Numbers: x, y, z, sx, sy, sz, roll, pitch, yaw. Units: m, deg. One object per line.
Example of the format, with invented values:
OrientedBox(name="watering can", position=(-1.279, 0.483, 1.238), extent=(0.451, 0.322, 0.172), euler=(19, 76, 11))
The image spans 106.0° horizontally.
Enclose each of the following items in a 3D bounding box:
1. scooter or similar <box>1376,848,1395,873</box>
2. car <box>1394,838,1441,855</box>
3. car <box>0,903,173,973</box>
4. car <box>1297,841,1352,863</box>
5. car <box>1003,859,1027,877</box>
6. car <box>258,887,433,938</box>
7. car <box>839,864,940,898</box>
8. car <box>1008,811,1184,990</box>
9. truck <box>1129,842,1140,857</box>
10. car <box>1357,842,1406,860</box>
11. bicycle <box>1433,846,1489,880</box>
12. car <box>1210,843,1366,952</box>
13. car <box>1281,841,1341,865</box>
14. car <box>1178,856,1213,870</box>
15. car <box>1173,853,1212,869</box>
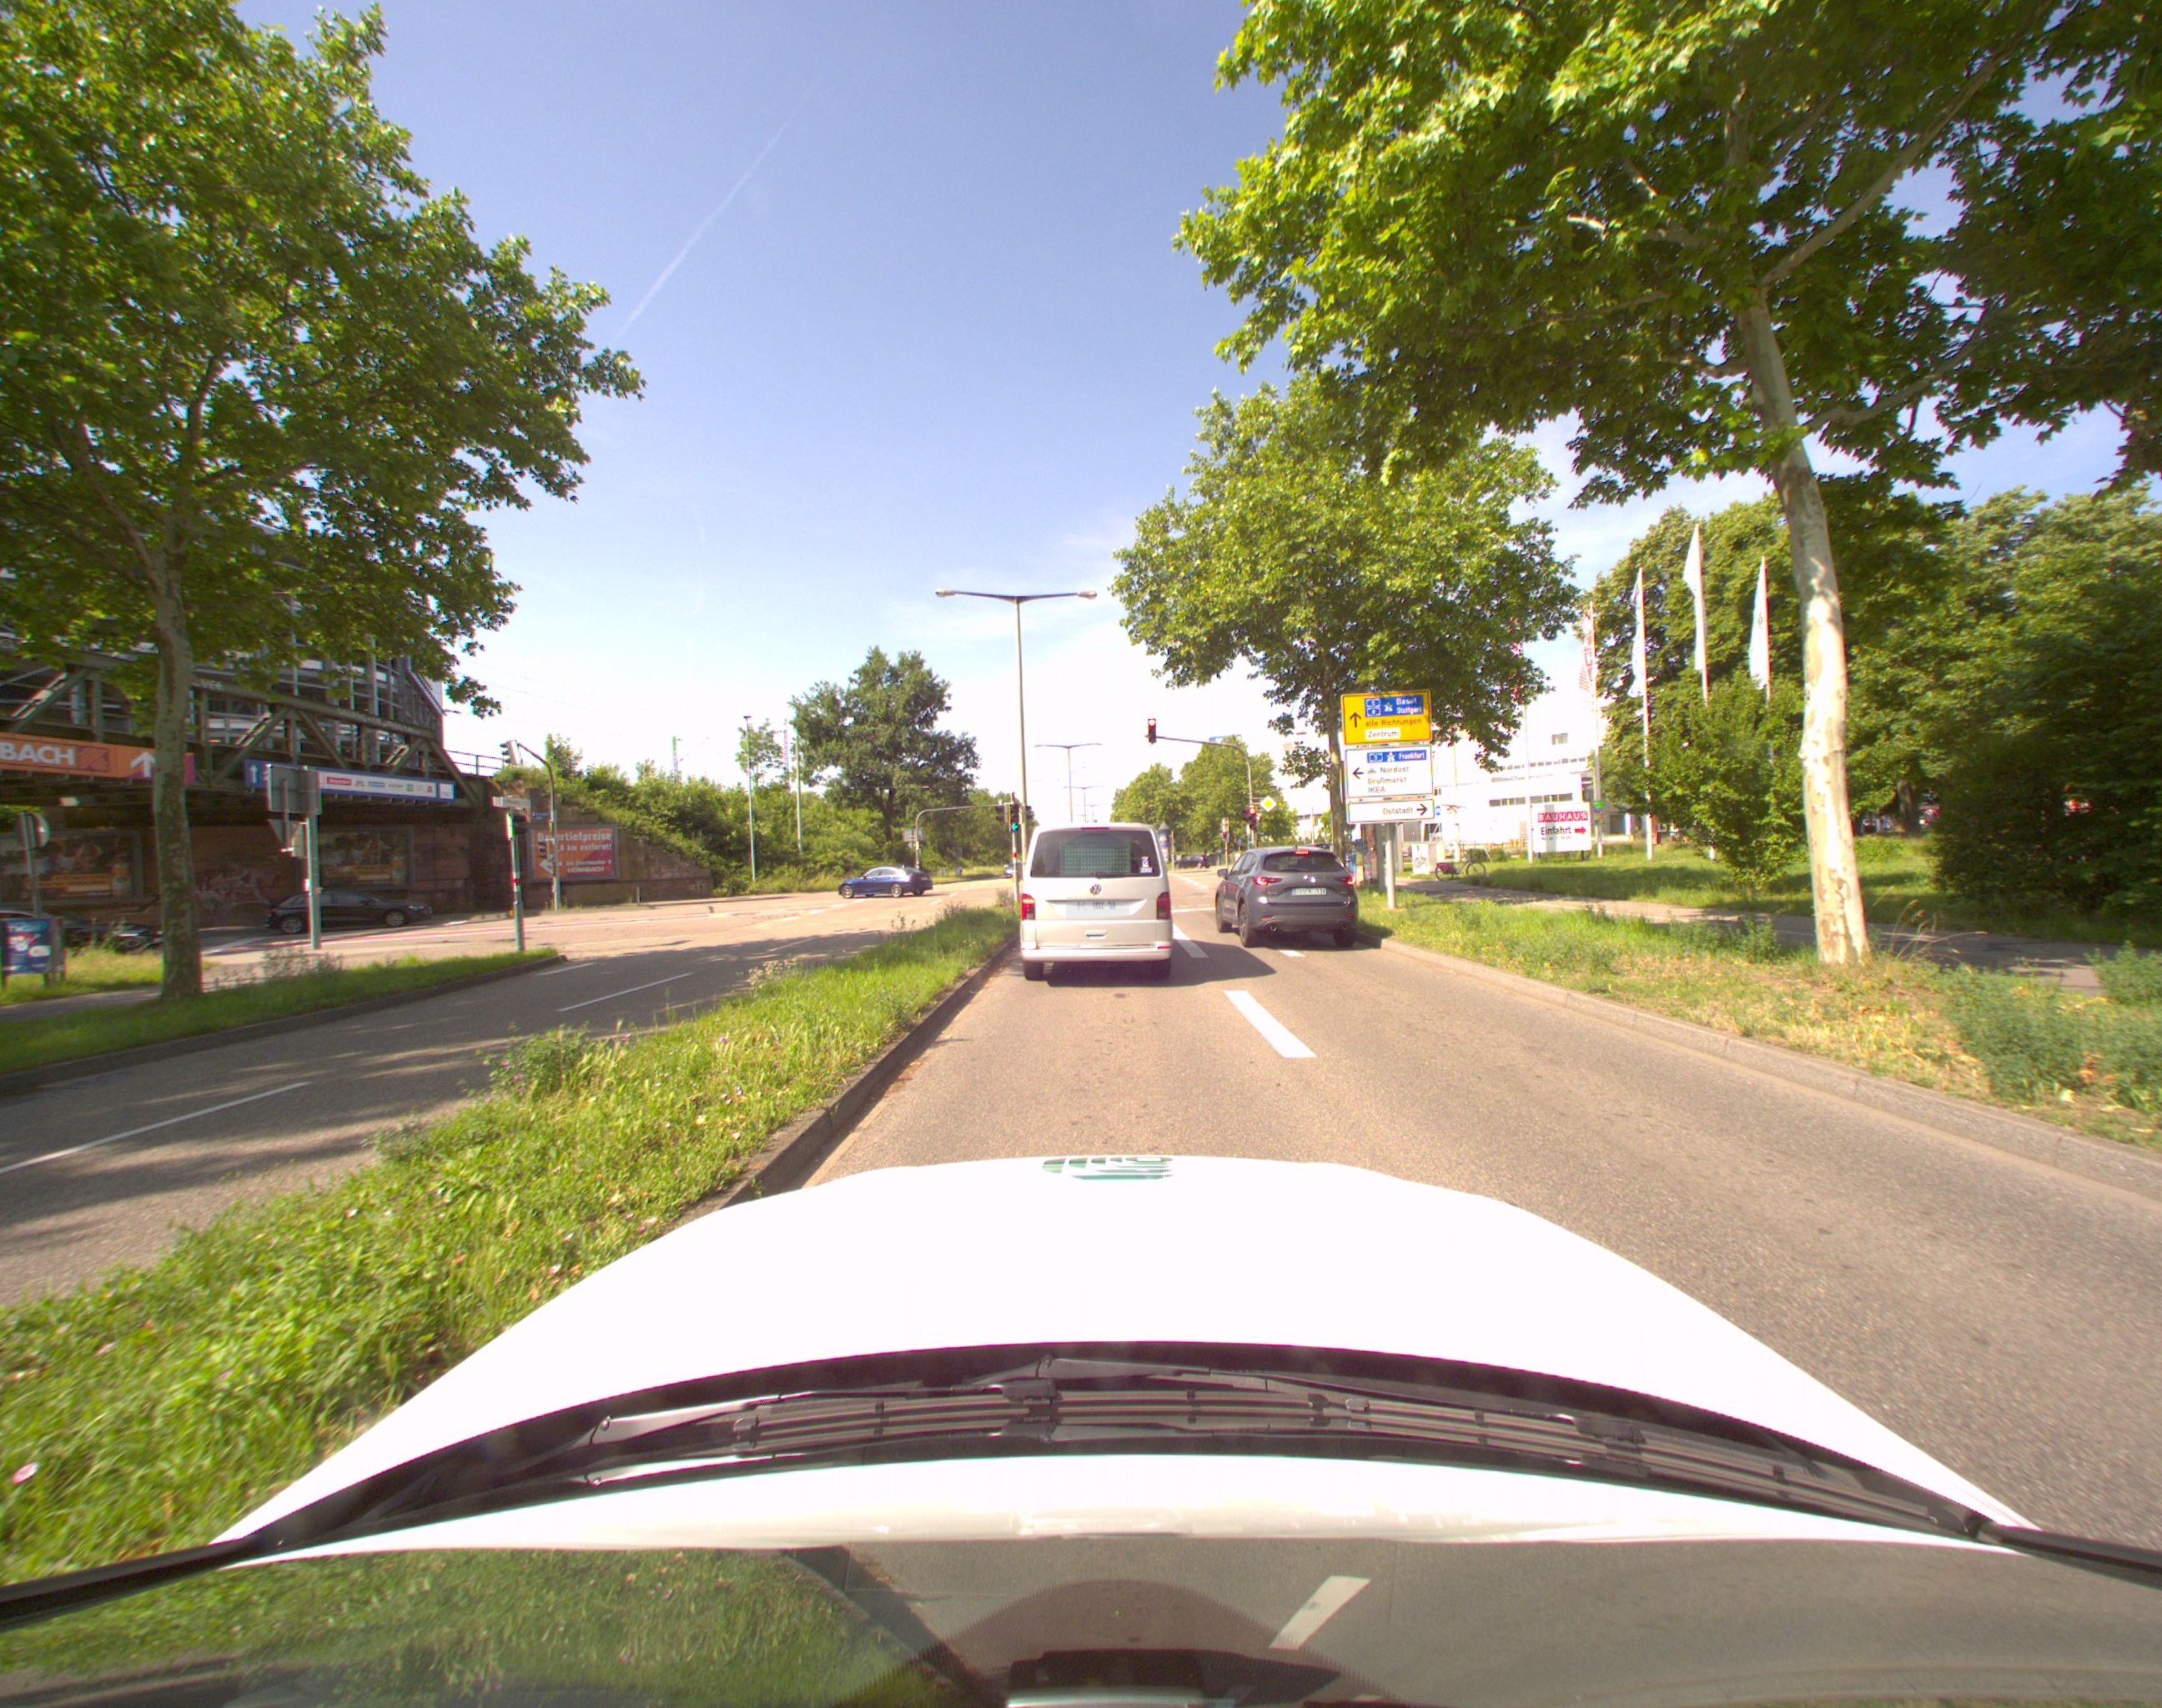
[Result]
OrientedBox(name="scooter or similar", position=(13.913, 0.284, 37.185), extent=(0.423, 1.126, 1.124), euler=(-3, 0, 1))
OrientedBox(name="car", position=(31.547, -0.699, 76.305), extent=(4.646, 1.444, 1.762), euler=(-3, 0, -35))
OrientedBox(name="car", position=(-25.590, 2.069, 20.068), extent=(3.959, 1.481, 1.804), euler=(-1, -1, -34))
OrientedBox(name="car", position=(20.752, -0.155, 69.306), extent=(4.646, 1.689, 1.895), euler=(-3, 0, -35))
OrientedBox(name="car", position=(-6.022, 1.264, 74.502), extent=(1.844, 1.561, 3.999), euler=(-3, 0, 0))
OrientedBox(name="car", position=(-25.912, 2.013, 28.922), extent=(4.353, 1.395, 1.752), euler=(-3, 0, -35))
OrientedBox(name="car", position=(-8.931, 1.266, 37.997), extent=(4.272, 1.397, 1.802), euler=(-3, 0, 23))
OrientedBox(name="car", position=(0.251, 0.542, 11.752), extent=(1.934, 1.971, 5.024), euler=(-2, 0, 2))
OrientedBox(name="truck", position=(17.344, -1.386, 262.079), extent=(3.176, 4.355, 13.165), euler=(-3, 0, 5))
OrientedBox(name="car", position=(27.062, -0.270, 73.298), extent=(4.646, 1.444, 1.762), euler=(-3, 0, -35))
OrientedBox(name="bicycle", position=(14.003, 0.332, 30.046), extent=(1.771, 1.108, 0.506), euler=(-4, -1, 20))
OrientedBox(name="car", position=(3.569, 0.683, 14.867), extent=(1.760, 1.659, 4.497), euler=(-1, 0, 1))
OrientedBox(name="car", position=(17.951, -0.099, 63.537), extent=(4.646, 1.689, 1.895), euler=(-3, 0, -35))
OrientedBox(name="car", position=(11.479, 0.913, 81.757), extent=(3.217, 1.236, 1.655), euler=(-3, 0, 16))
OrientedBox(name="car", position=(11.219, 0.725, 81.833), extent=(3.568, 1.566, 2.008), euler=(-1, -1, 15))
